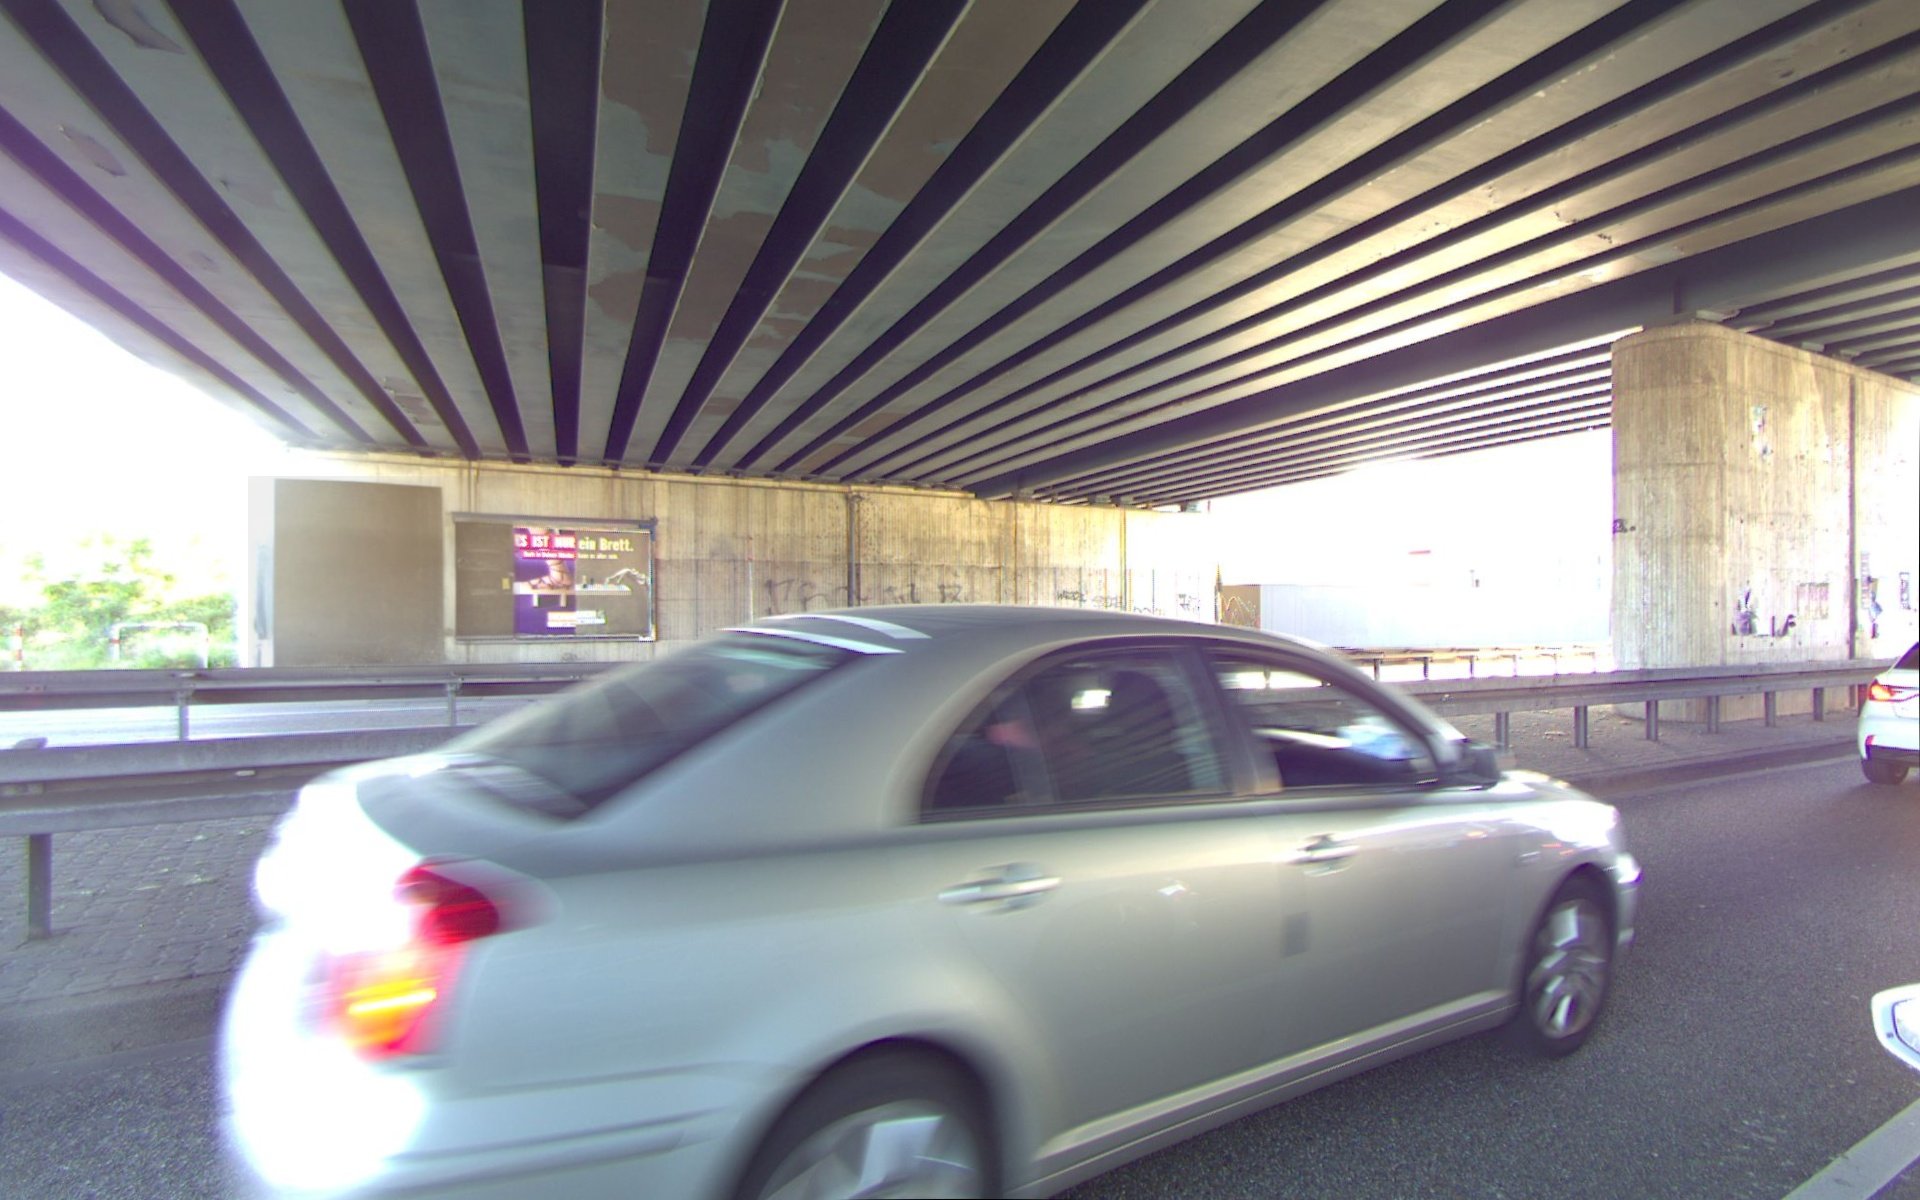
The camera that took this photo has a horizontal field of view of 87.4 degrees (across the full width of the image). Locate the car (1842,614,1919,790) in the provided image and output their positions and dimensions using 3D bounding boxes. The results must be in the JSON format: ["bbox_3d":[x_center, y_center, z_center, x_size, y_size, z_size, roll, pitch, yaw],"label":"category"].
[{"bbox_3d":[9.649,0.876,8.901,3.769,1.429,1.684,1,0,-31],"label":"car"}]

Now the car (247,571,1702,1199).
[{"bbox_3d":[0.448,0.728,3.205,4.351,1.474,1.686,1,0,-33],"label":"car"}]
